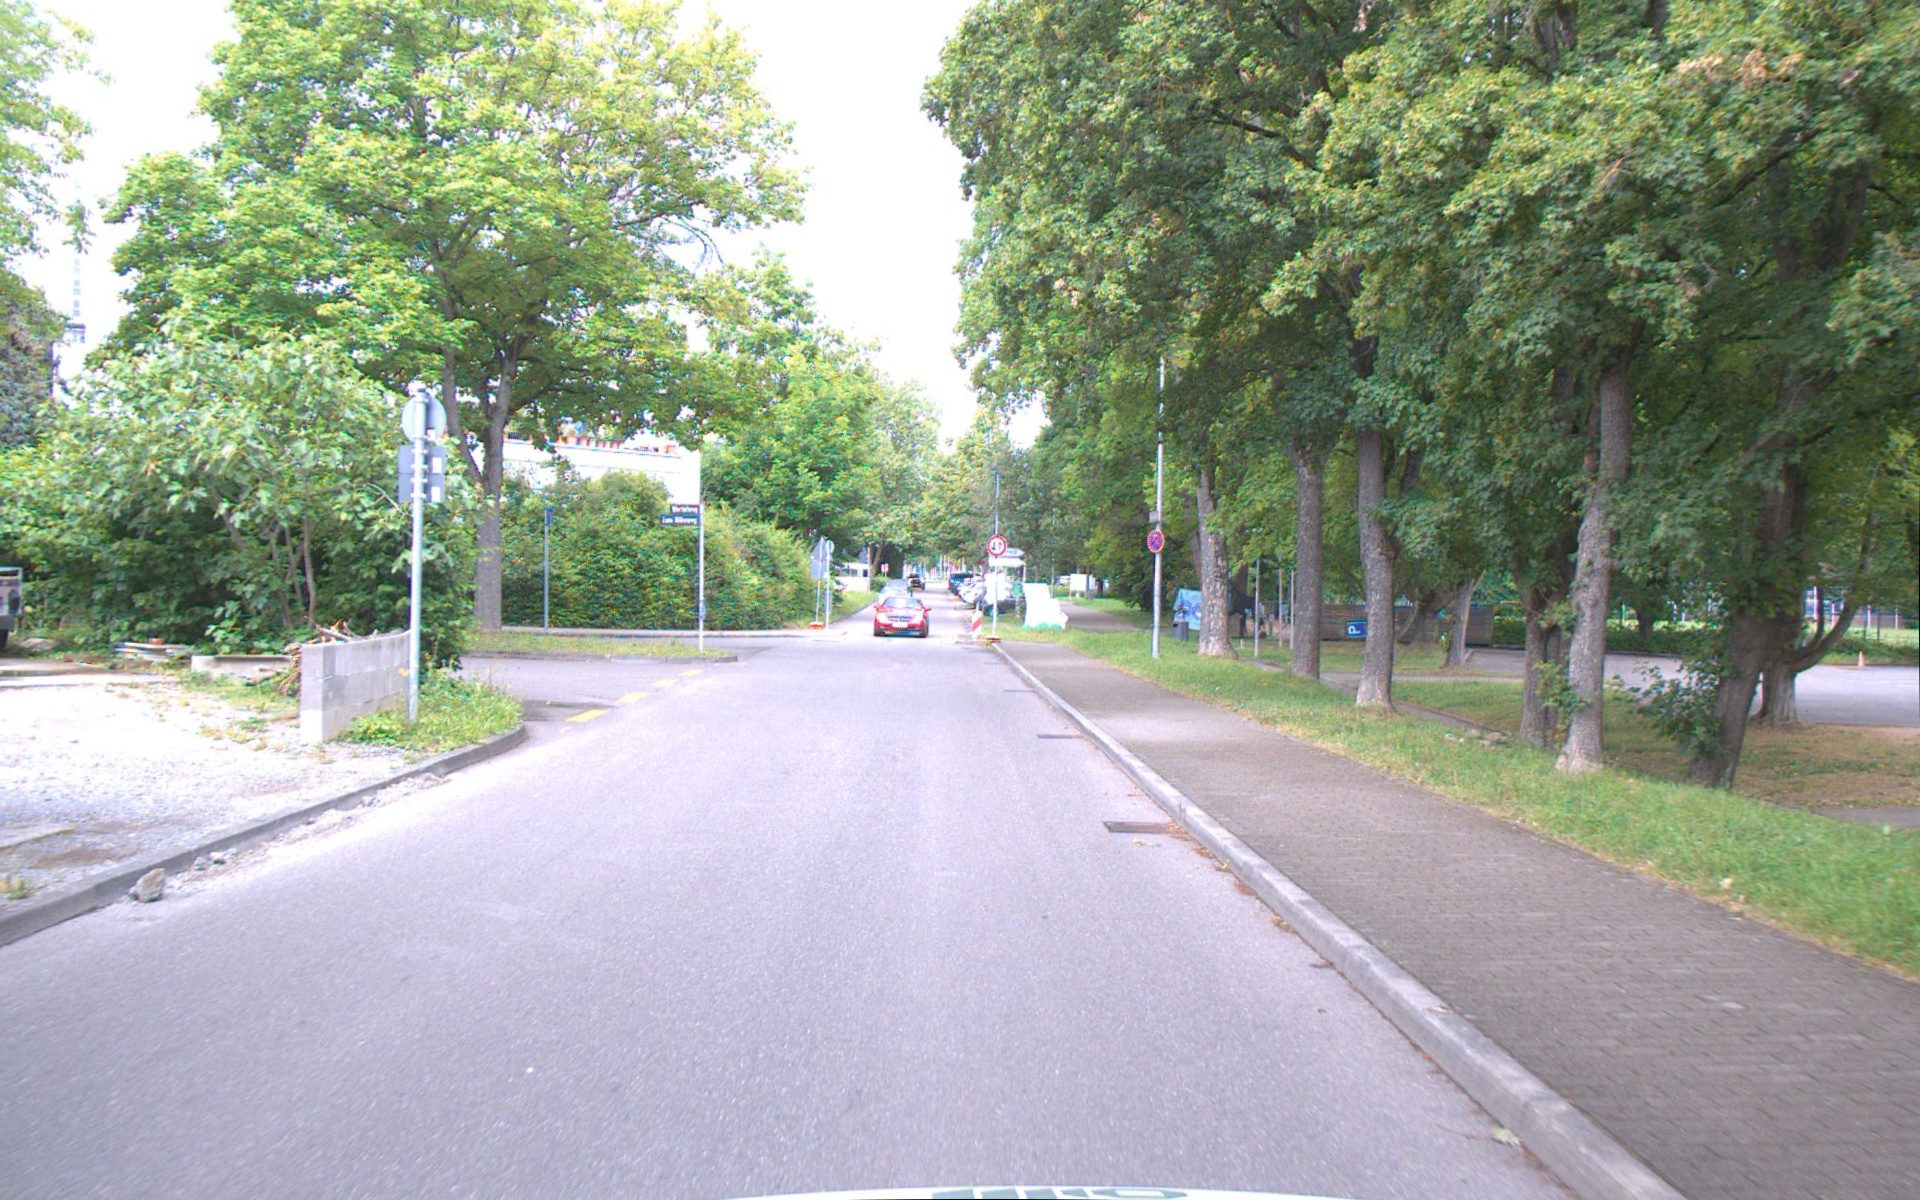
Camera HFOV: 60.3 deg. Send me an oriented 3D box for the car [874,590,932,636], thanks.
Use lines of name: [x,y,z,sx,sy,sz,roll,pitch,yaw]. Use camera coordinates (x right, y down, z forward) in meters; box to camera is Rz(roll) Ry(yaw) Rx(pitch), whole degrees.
car: [-1.830,0.397,54.302,1.714,1.359,4.065,2,1,0]

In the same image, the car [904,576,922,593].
car: [-5.169,-1.695,180.965,1.929,1.778,4.337,2,1,-2]

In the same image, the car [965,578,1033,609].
car: [2.396,-0.424,102.674,3.984,1.717,1.821,-2,1,-5]

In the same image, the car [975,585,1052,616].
car: [2.818,0.048,87.444,3.981,1.596,1.821,0,-1,-2]

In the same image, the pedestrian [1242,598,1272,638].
pedestrian: [12.927,0.795,71.891,1.125,1.704,0.793,-1,-1,24]

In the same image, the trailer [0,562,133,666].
trailer: [-11.179,0.101,18.721,3.930,1.065,1.988,2,1,42]

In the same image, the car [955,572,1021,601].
car: [1.789,-0.869,106.031,3.984,1.717,1.821,-2,1,-5]

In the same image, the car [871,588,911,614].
car: [-3.810,0.056,91.791,1.744,1.329,4.298,2,1,4]

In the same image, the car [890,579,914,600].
car: [-4.571,-0.844,129.849,1.767,1.619,4.293,2,1,-3]

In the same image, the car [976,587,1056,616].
car: [2.861,0.075,85.016,3.981,1.459,1.999,0,-1,-2]
